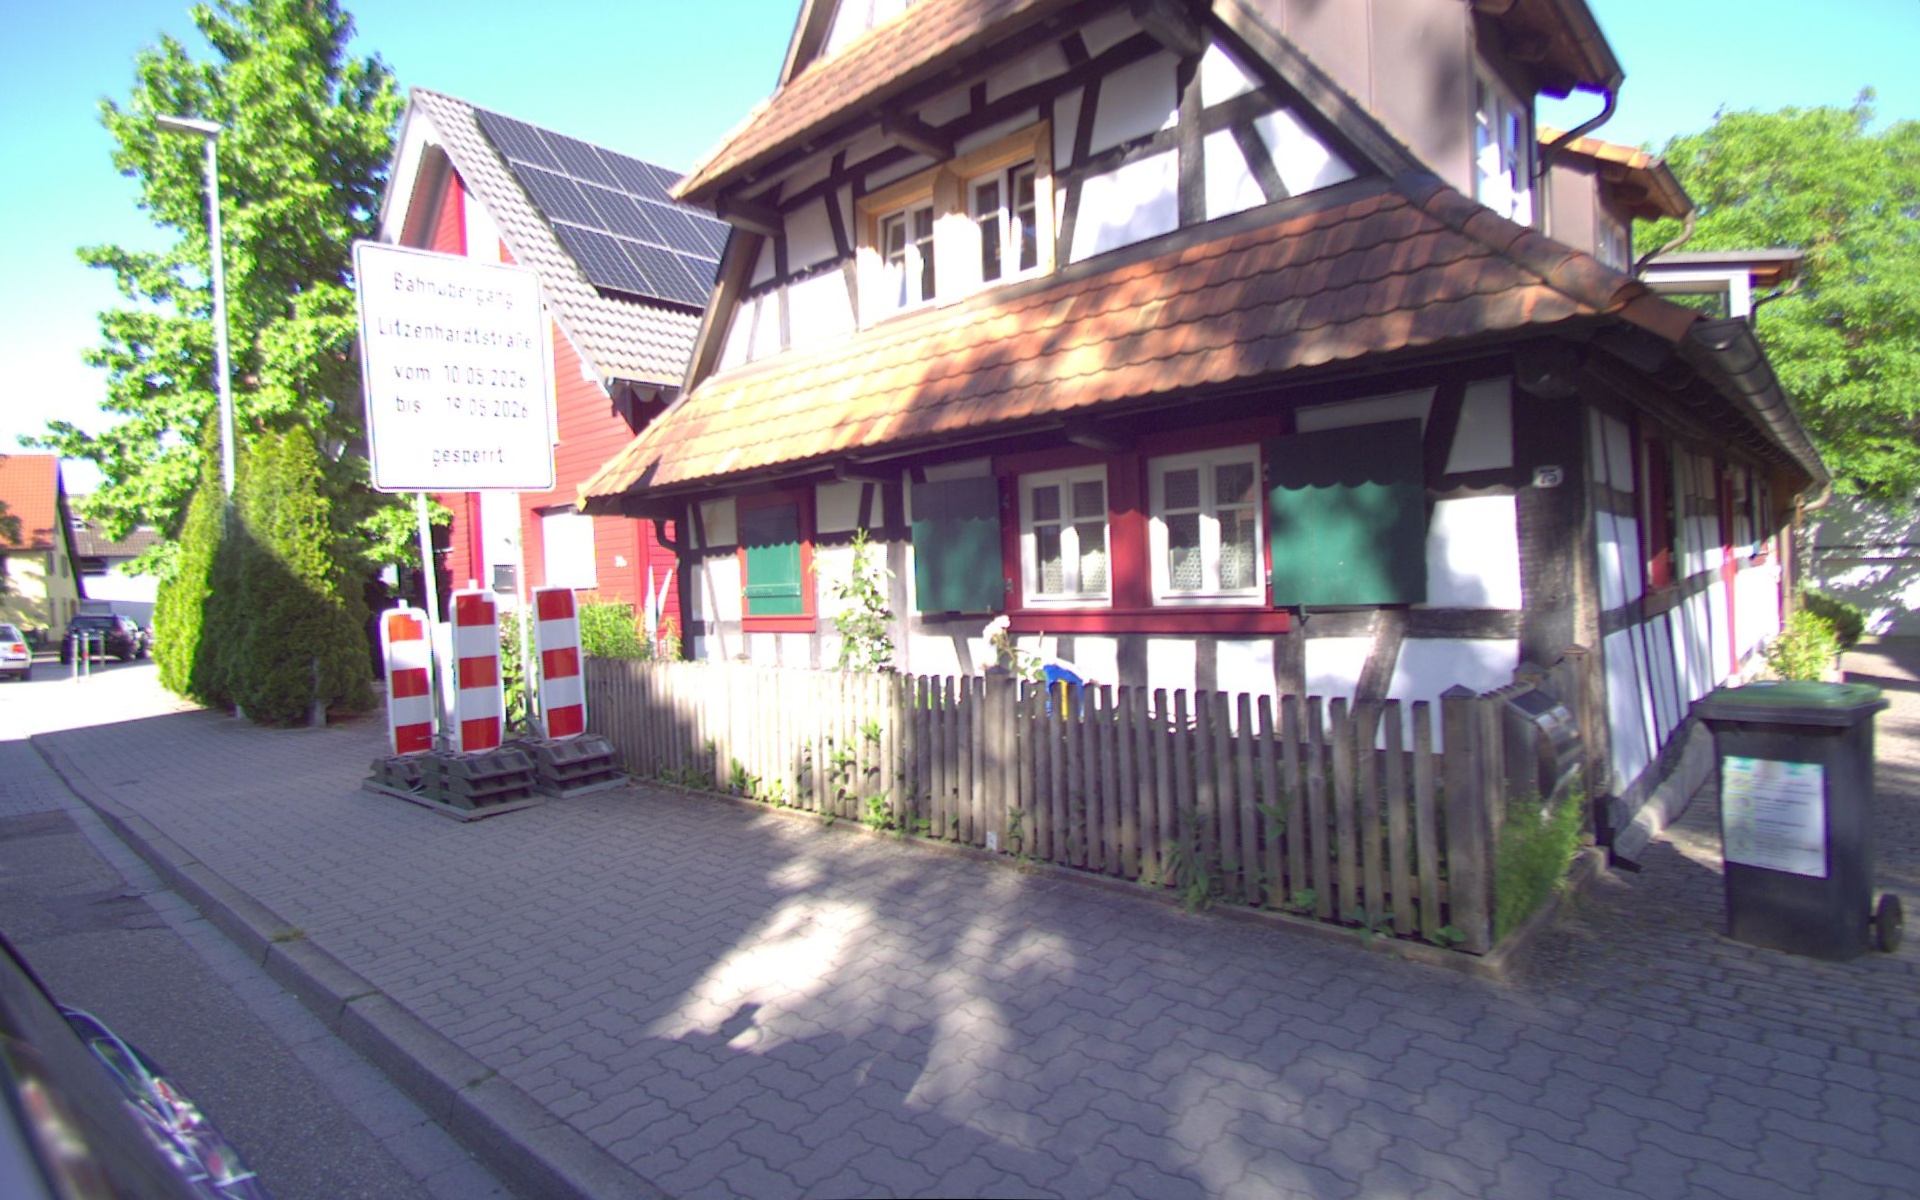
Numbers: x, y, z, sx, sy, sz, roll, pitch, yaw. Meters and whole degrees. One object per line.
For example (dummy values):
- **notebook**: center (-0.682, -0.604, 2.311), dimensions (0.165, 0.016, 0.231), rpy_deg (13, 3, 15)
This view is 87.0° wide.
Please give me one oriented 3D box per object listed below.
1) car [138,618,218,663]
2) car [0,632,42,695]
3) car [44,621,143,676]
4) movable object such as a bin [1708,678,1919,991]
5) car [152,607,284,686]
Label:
- **car**: center (-34.020, 1.719, 44.144), dimensions (1.806, 1.803, 4.367), rpy_deg (-1, -1, -25)
- **car**: center (-23.747, 1.517, 24.707), dimensions (1.649, 1.413, 3.900), rpy_deg (1, -2, -37)
- **car**: center (-29.042, 1.592, 34.057), dimensions (1.807, 1.684, 4.365), rpy_deg (0, -2, -31)
- **movable object such as a bin**: center (3.057, 0.749, 3.486), dimensions (0.575, 0.904, 0.557), rpy_deg (0, -1, -27)
- **car**: center (-17.869, 1.034, 24.579), dimensions (1.792, 1.607, 4.460), rpy_deg (-4, 1, -27)
